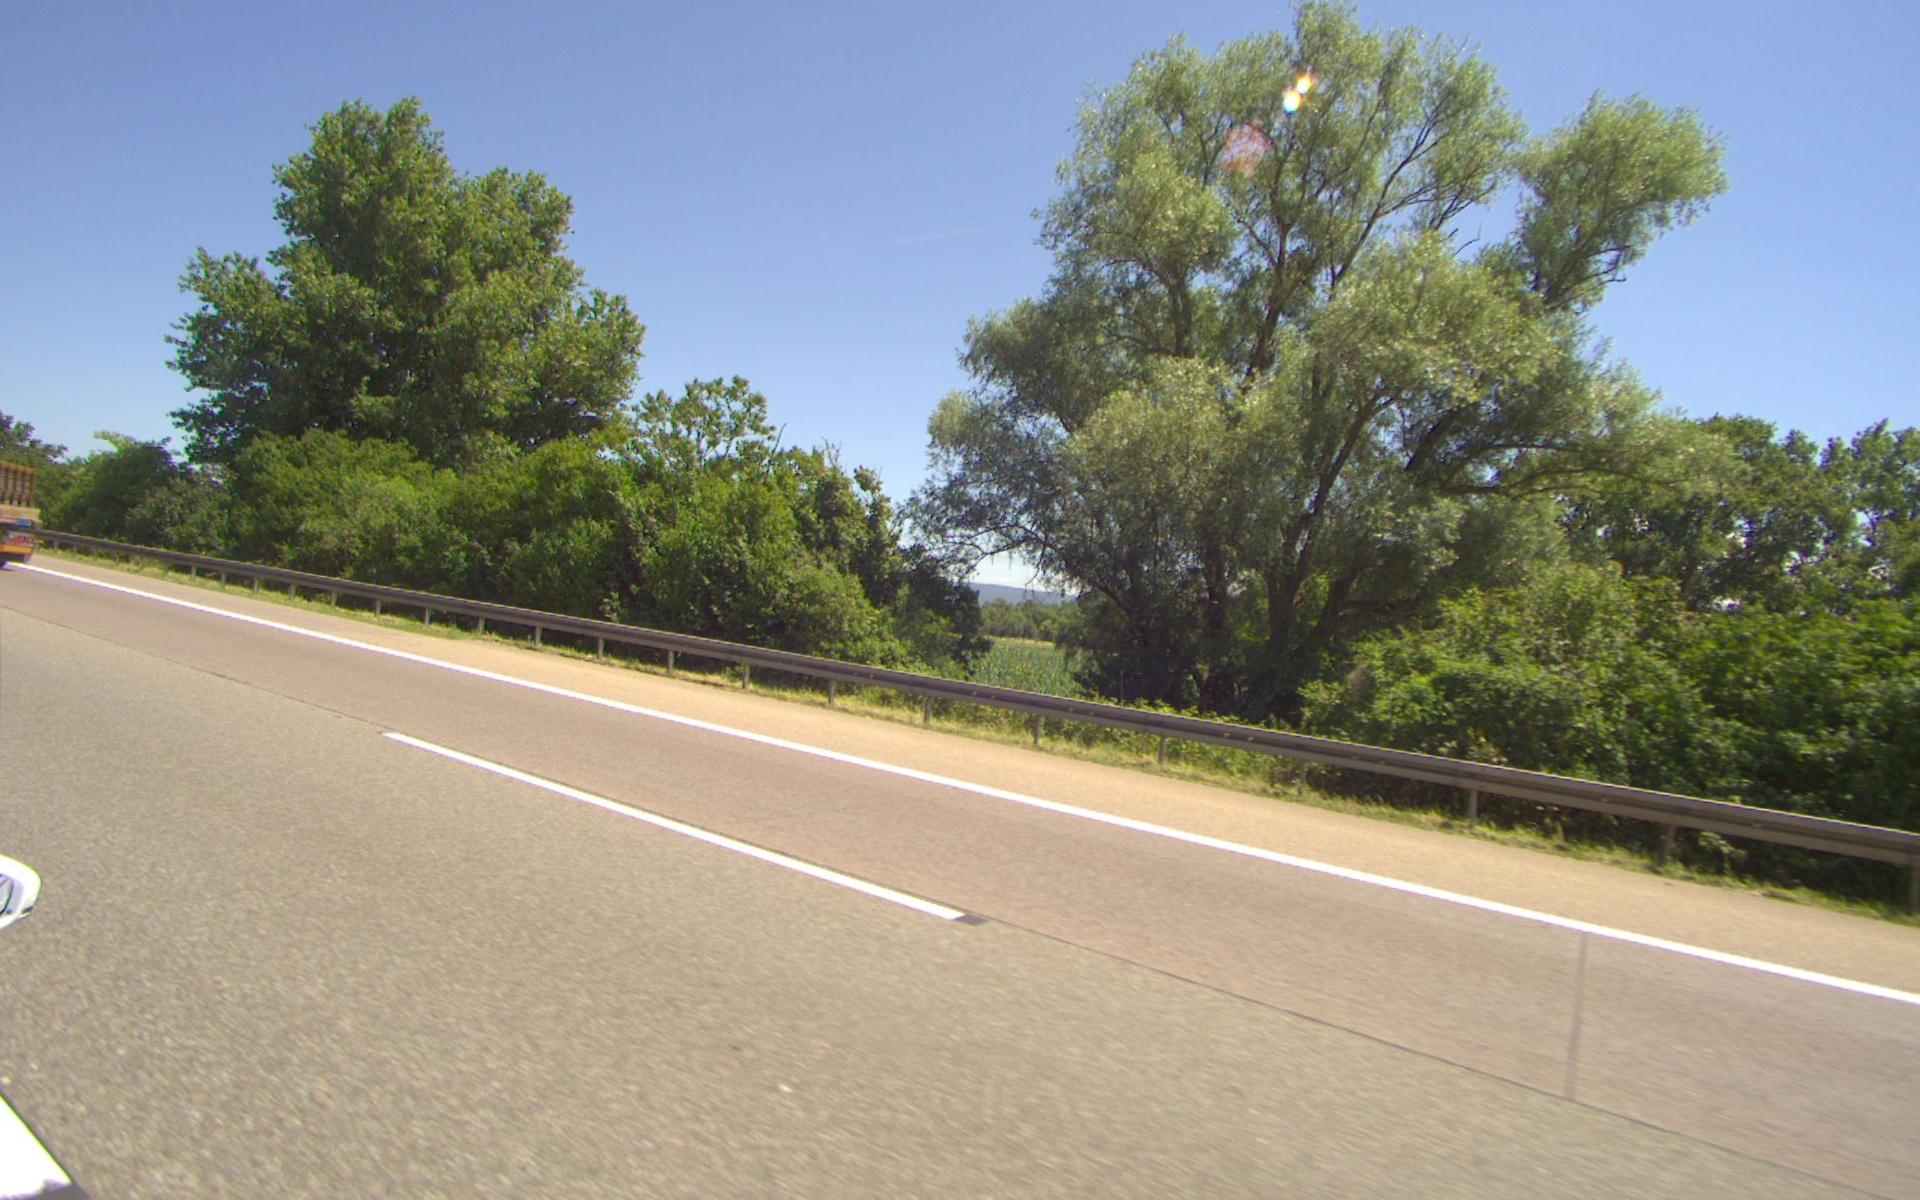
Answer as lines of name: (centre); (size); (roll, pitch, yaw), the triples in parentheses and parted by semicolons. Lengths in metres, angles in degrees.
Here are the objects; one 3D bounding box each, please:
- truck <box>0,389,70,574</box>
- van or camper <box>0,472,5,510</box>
truck: (-28.584, -3.407, 26.744); (16.347, 4.003, 2.973); (6, -2, 34)
van or camper: (-15.903, -1.125, 14.284); (4.888, 1.931, 1.998); (6, -2, 31)
